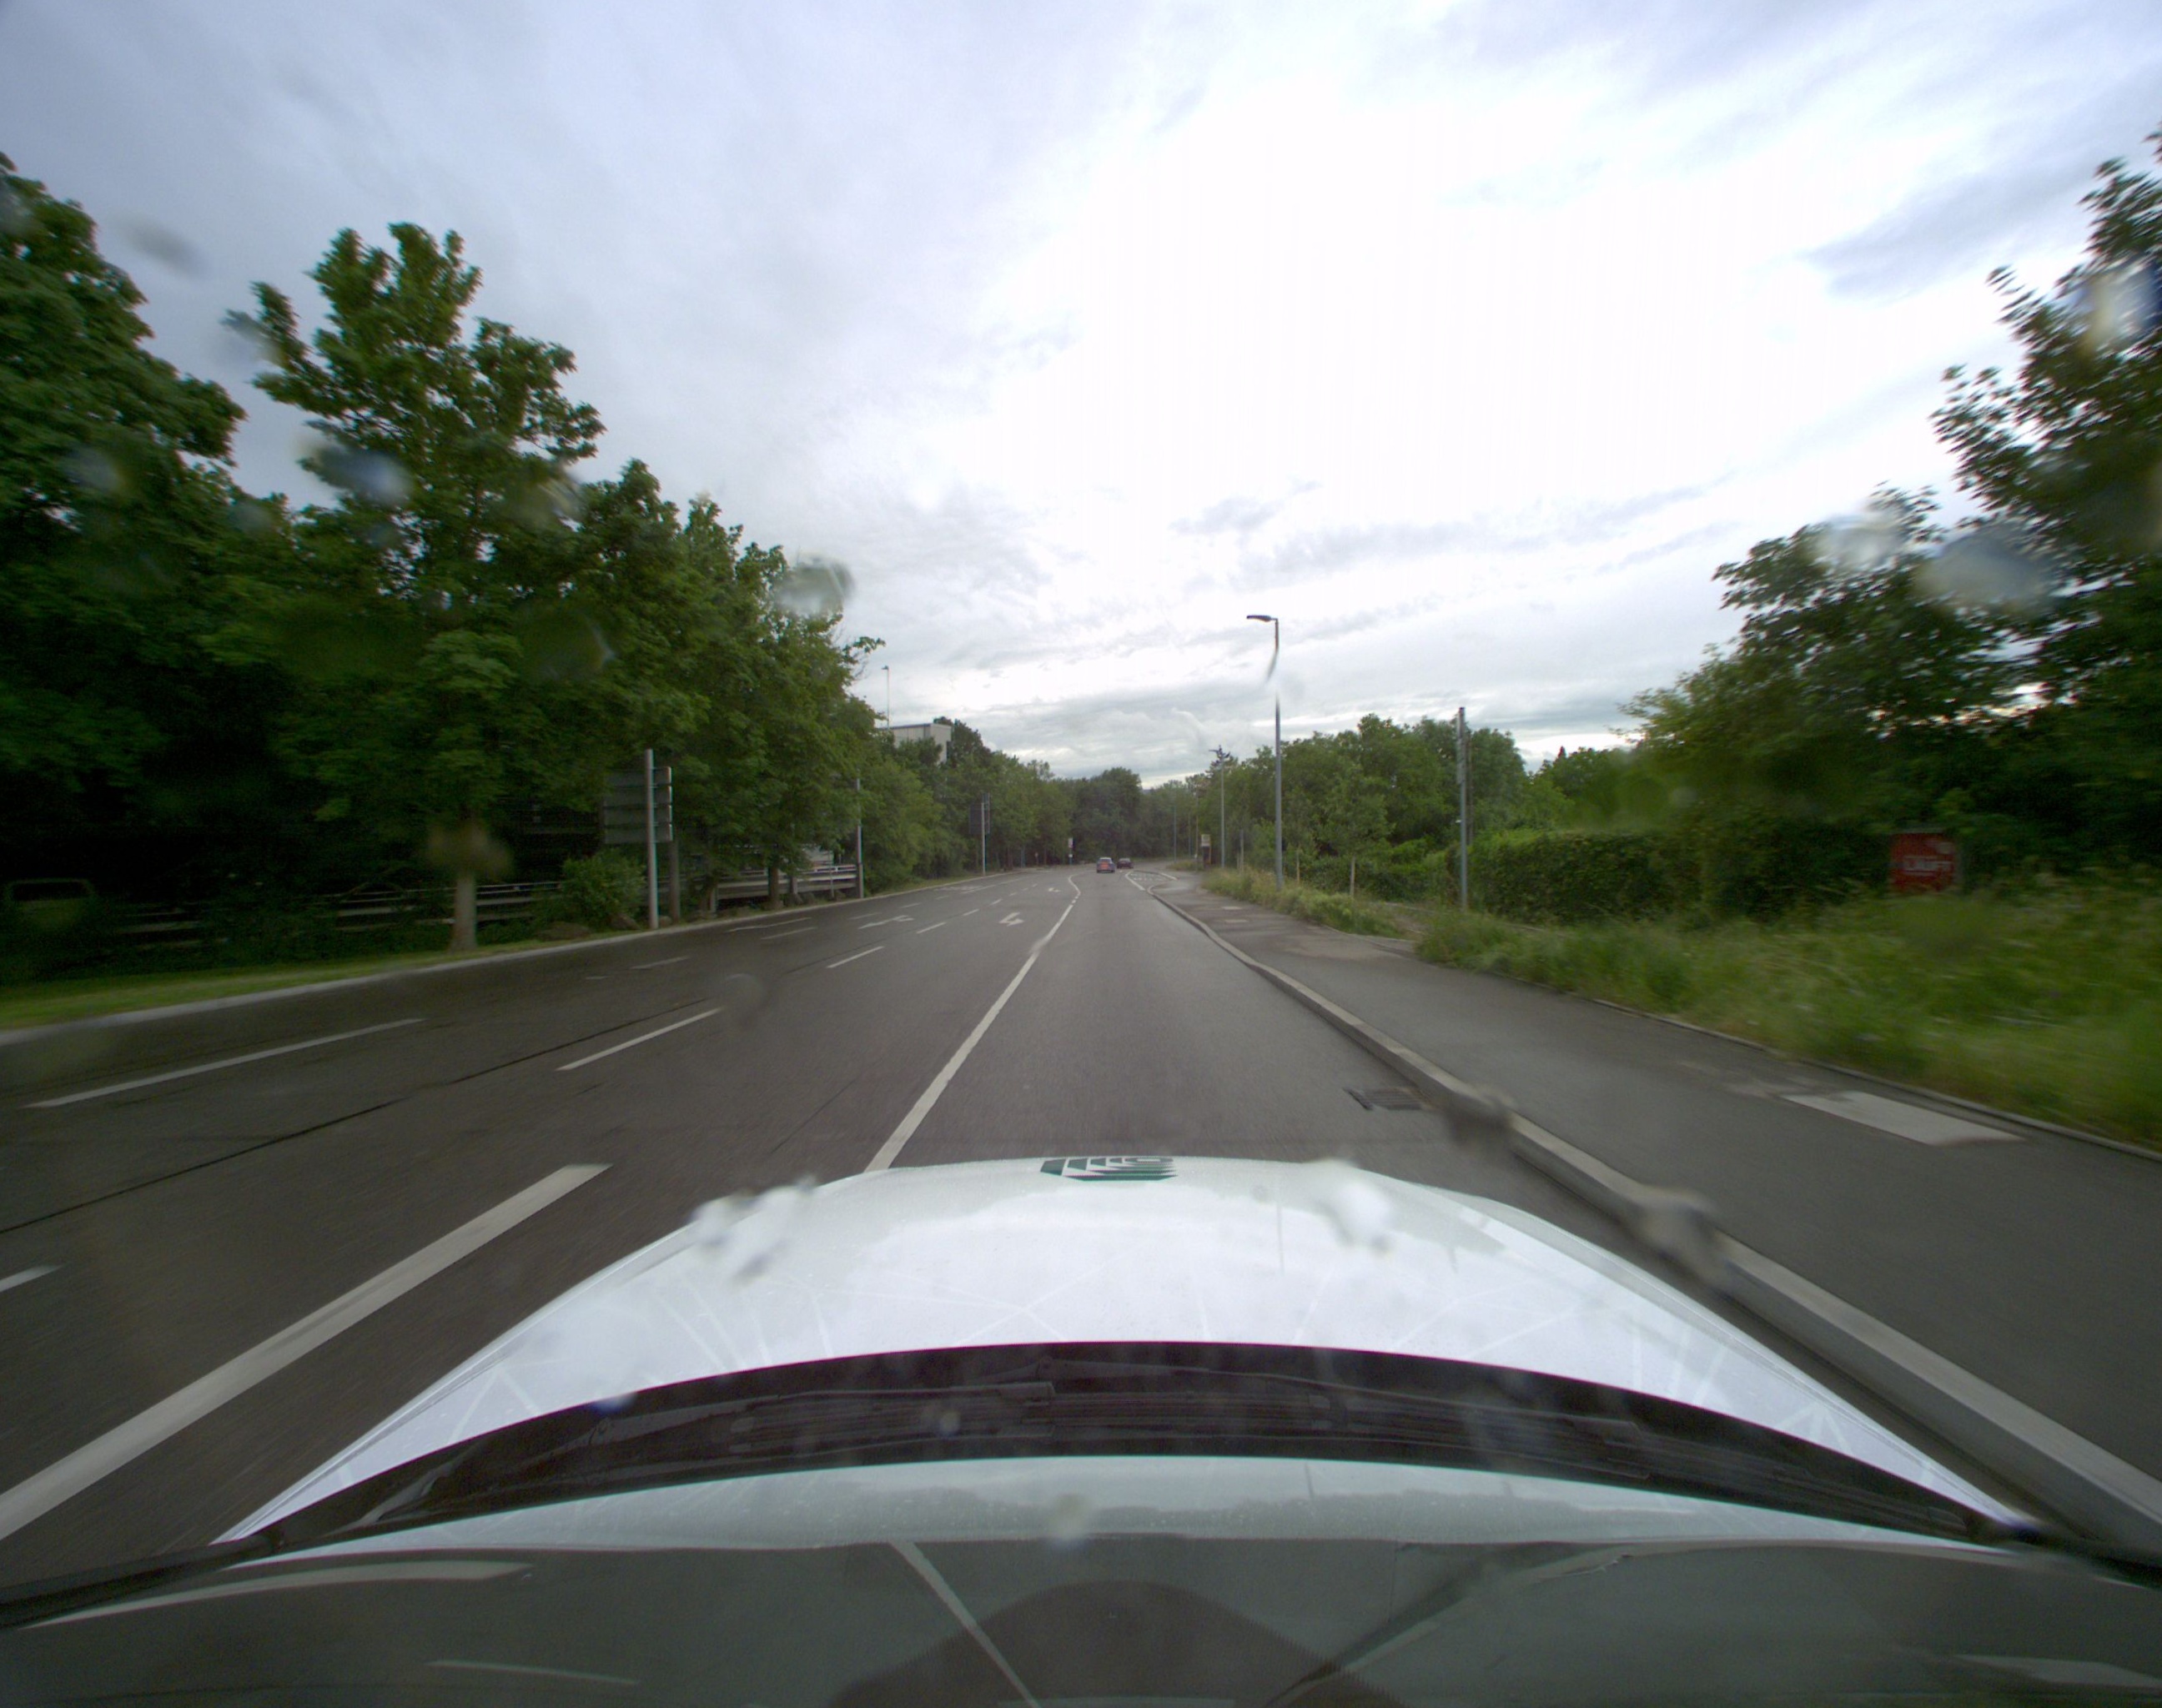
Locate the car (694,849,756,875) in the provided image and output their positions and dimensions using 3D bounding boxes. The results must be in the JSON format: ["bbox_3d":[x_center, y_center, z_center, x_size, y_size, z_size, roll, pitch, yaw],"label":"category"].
[{"bbox_3d":[-22.188,0.500,50.778,3.432,1.519,1.595,-1,0,23],"label":"car"}]

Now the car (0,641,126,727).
[{"bbox_3d":[-25.484,-4.072,19.918,3.949,1.518,2.013,2,2,29],"label":"car"}]

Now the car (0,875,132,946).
[{"bbox_3d":[-25.615,1.363,20.150,3.949,1.519,2.013,-2,0,29],"label":"car"}]

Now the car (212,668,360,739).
[{"bbox_3d":[-23.002,-4.276,23.560,3.949,1.518,2.013,2,2,29],"label":"car"}]

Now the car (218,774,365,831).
[{"bbox_3d":[-23.013,-1.455,23.726,3.949,1.518,2.013,2,2,29],"label":"car"}]

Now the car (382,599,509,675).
[{"bbox_3d":[-21.676,-7.303,27.771,3.949,1.519,2.013,-2,0,29],"label":"car"}]

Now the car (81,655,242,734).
[{"bbox_3d":[-24.342,-4.124,21.548,3.949,1.518,2.013,2,2,29],"label":"car"}]

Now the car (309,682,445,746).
[{"bbox_3d":[-22.279,-4.364,25.765,3.949,1.518,2.013,2,2,29],"label":"car"}]

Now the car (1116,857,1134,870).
[{"bbox_3d":[5.764,1.197,106.065,1.915,1.486,3.811,-2,2,10],"label":"car"}]

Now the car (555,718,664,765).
[{"bbox_3d":[-18.686,-4.402,32.255,3.949,1.518,2.013,2,2,29],"label":"car"}]

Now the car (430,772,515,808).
[{"bbox_3d":[-32.064,-3.333,42.936,3.949,1.519,2.012,-2,0,27],"label":"car"}]

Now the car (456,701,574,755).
[{"bbox_3d":[-20.588,-4.522,29.615,3.949,1.518,2.013,2,2,29],"label":"car"}]

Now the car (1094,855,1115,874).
[{"bbox_3d":[2.542,1.090,86.033,1.985,1.689,4.005,-2,2,4],"label":"car"}]

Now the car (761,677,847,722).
[{"bbox_3d":[-14.389,-7.959,42.273,3.949,1.519,2.013,-2,0,29],"label":"car"}]
